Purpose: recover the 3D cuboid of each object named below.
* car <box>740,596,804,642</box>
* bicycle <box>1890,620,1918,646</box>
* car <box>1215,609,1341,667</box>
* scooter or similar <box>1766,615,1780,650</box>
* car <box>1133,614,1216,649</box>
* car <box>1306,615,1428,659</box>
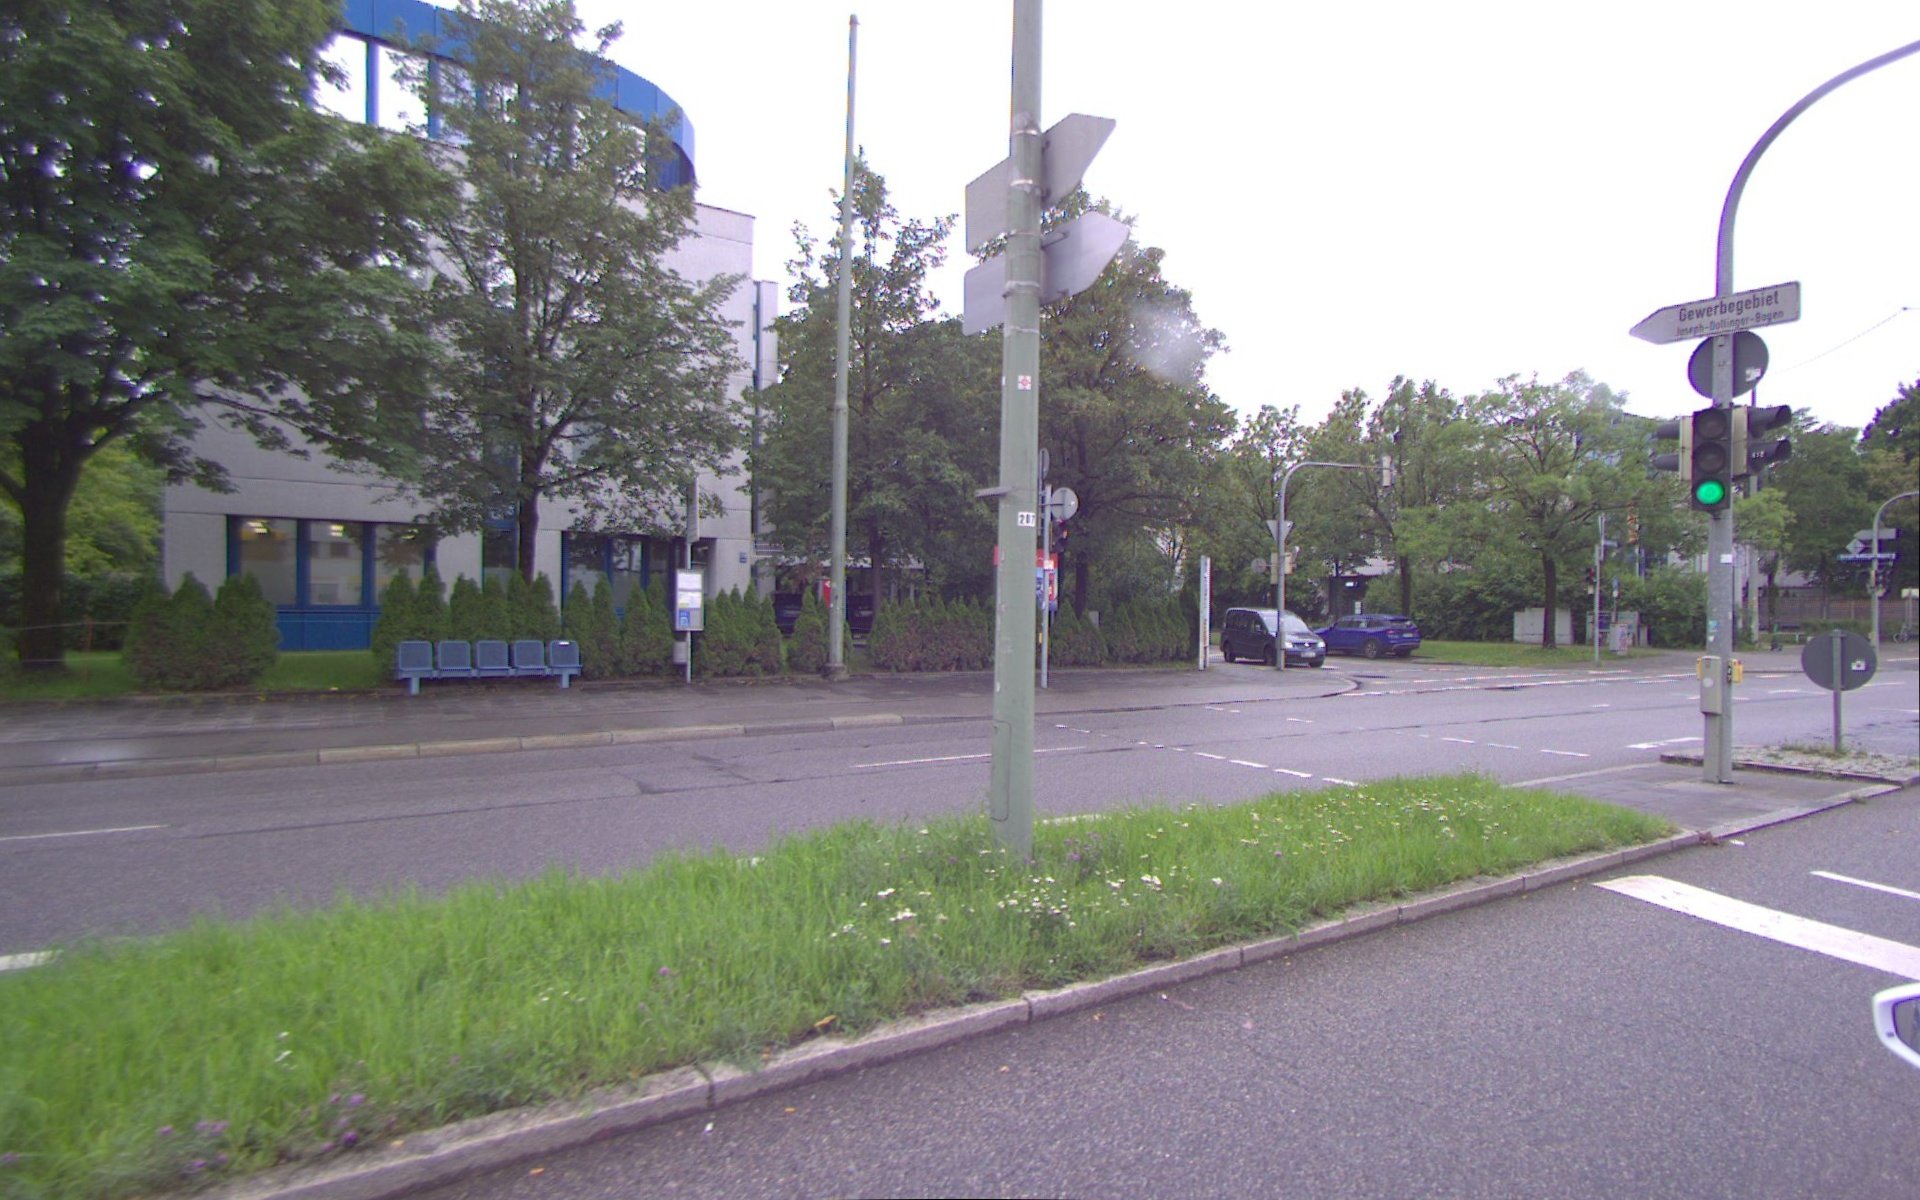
[{"bbox_3d":[-6.508,0.601,34.430,1.839,1.437,4.163,1,0,-15],"label":"car"},{"bbox_3d":[49.784,1.730,52.986,2.430,1.313,0.578,1,1,-35],"label":"bicycle"},{"bbox_3d":[10.242,1.204,32.793,1.964,1.745,4.783,1,-1,-9],"label":"car"},{"bbox_3d":[34.056,1.355,42.091,0.366,1.443,1.398,2,1,42],"label":"scooter or similar"},{"bbox_3d":[10.654,1.542,50.191,1.742,1.595,4.132,-2,0,-30],"label":"car"},{"bbox_3d":[15.890,1.411,39.463,1.972,1.595,4.259,-2,0,-23],"label":"car"}]
